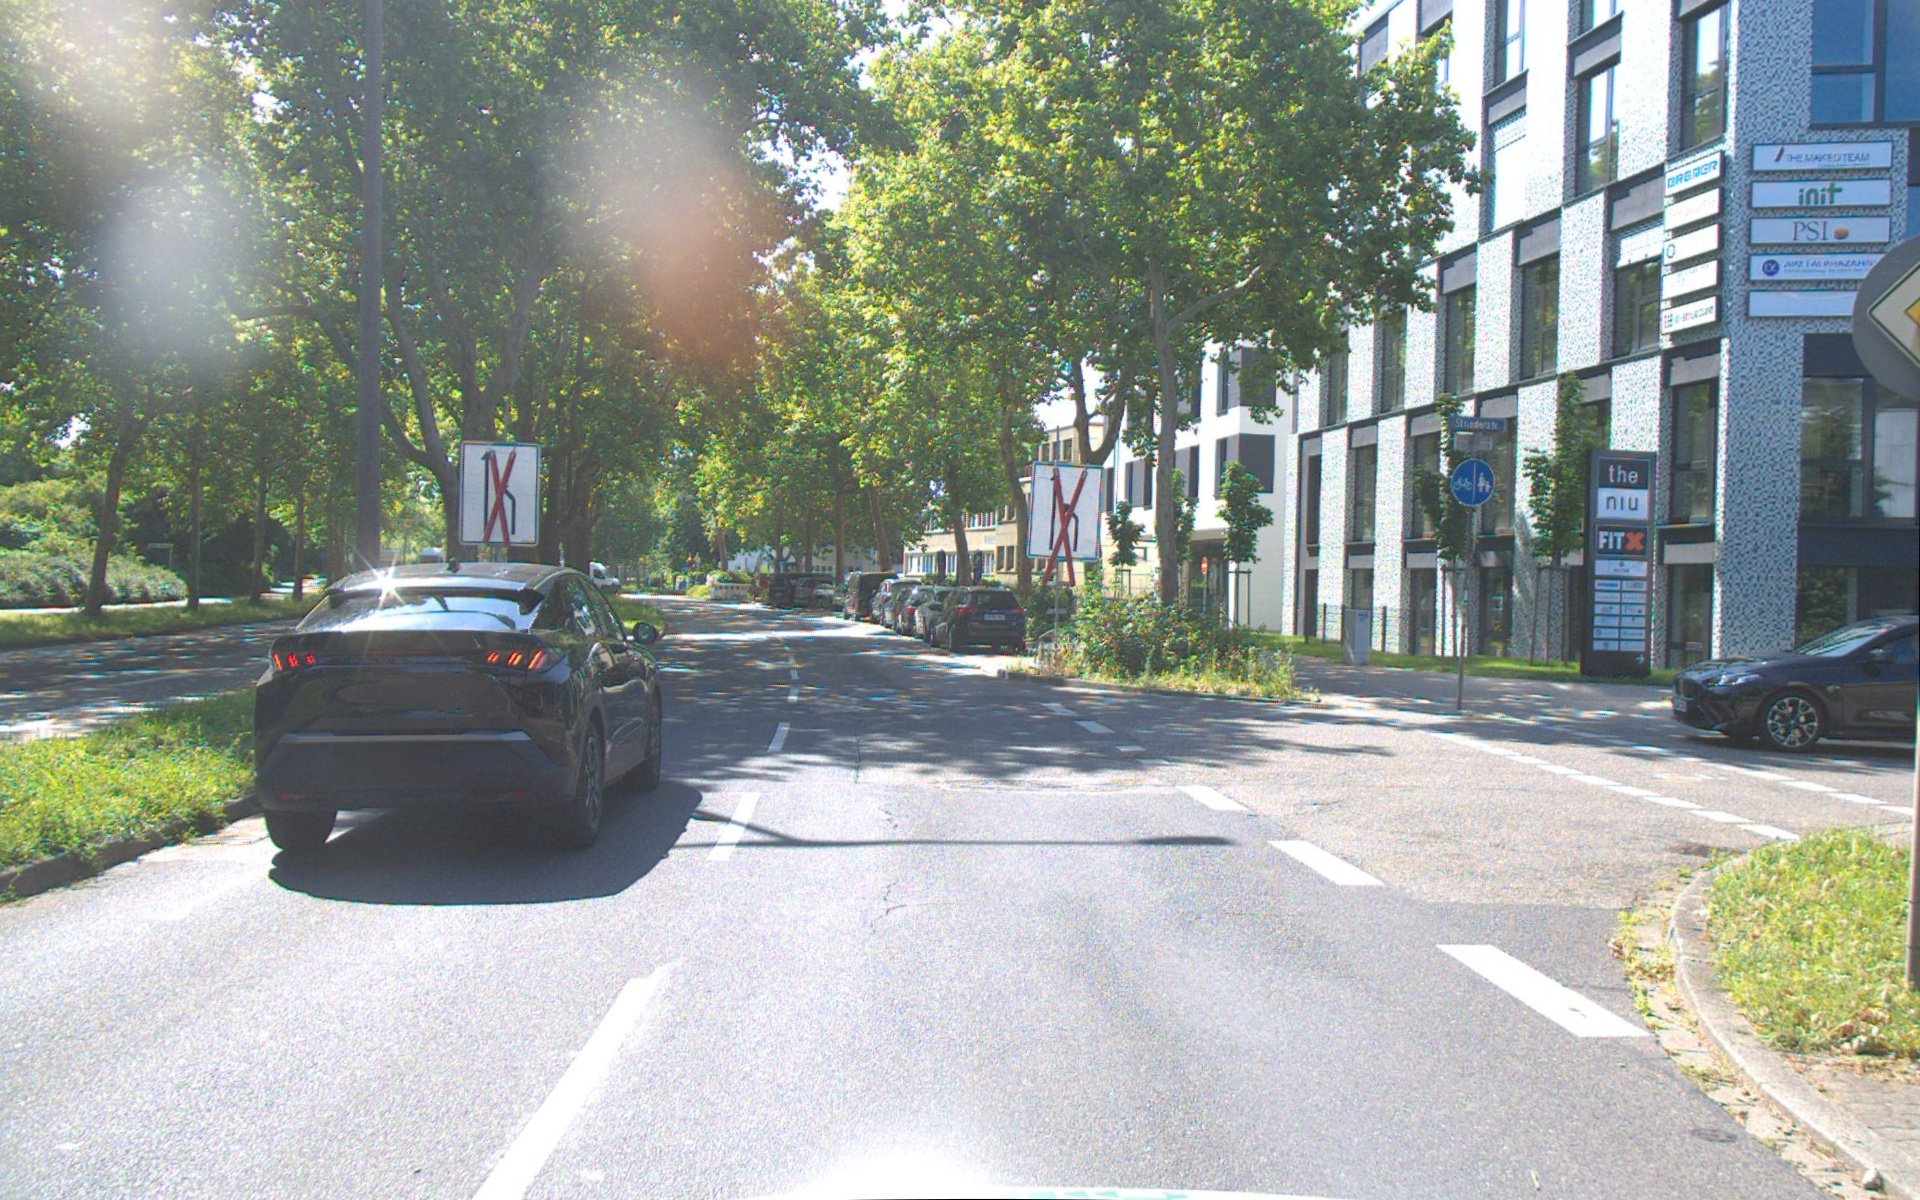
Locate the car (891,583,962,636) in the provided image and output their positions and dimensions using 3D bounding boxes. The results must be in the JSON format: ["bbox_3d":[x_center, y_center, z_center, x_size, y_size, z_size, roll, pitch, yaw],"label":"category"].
[{"bbox_3d":[-1.046,0.259,49.788,1.674,1.480,4.649,1,1,-7],"label":"car"}]

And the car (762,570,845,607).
[{"bbox_3d":[-8.371,-0.608,88.373,4.055,1.912,1.768,0,1,-29],"label":"car"}]

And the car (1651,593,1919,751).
[{"bbox_3d":[9.934,0.770,17.892,4.157,1.544,2.002,2,0,10],"label":"car"}]

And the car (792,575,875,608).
[{"bbox_3d":[-6.632,-0.452,86.685,4.052,1.662,1.697,0,1,-28],"label":"car"}]

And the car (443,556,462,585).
[{"bbox_3d":[-63.025,-3.648,205.413,2.024,3.494,6.740,1,1,-16],"label":"car"}]

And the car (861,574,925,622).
[{"bbox_3d":[-2.550,-0.111,62.236,1.676,1.698,4.521,1,1,-12],"label":"car"}]

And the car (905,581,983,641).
[{"bbox_3d":[-0.491,0.265,45.046,1.674,1.513,4.095,1,1,-7],"label":"car"}]

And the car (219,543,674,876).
[{"bbox_3d":[-3.062,0.558,10.866,1.835,1.726,4.432,0,0,-4],"label":"car"}]

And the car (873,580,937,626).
[{"bbox_3d":[-1.936,0.082,57.508,1.675,1.513,4.475,1,1,-9],"label":"car"}]

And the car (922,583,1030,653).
[{"bbox_3d":[0.315,0.381,39.196,1.676,1.513,4.707,0,1,-11],"label":"car"}]

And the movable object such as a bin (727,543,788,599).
[{"bbox_3d":[-12.305,-1.772,100.294,2.310,3.297,3.386,0,1,-37],"label":"movable object such as a bin"}]

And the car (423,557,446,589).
[{"bbox_3d":[-61.705,-3.159,194.393,2.412,3.509,7.065,3,1,-17],"label":"car"}]

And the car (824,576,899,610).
[{"bbox_3d":[-4.936,-0.355,82.756,3.493,1.668,1.653,1,0,-15],"label":"car"}]

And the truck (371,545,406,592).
[{"bbox_3d":[-45.579,-2.547,131.820,2.414,3.509,7.060,3,1,-19],"label":"truck"}]
